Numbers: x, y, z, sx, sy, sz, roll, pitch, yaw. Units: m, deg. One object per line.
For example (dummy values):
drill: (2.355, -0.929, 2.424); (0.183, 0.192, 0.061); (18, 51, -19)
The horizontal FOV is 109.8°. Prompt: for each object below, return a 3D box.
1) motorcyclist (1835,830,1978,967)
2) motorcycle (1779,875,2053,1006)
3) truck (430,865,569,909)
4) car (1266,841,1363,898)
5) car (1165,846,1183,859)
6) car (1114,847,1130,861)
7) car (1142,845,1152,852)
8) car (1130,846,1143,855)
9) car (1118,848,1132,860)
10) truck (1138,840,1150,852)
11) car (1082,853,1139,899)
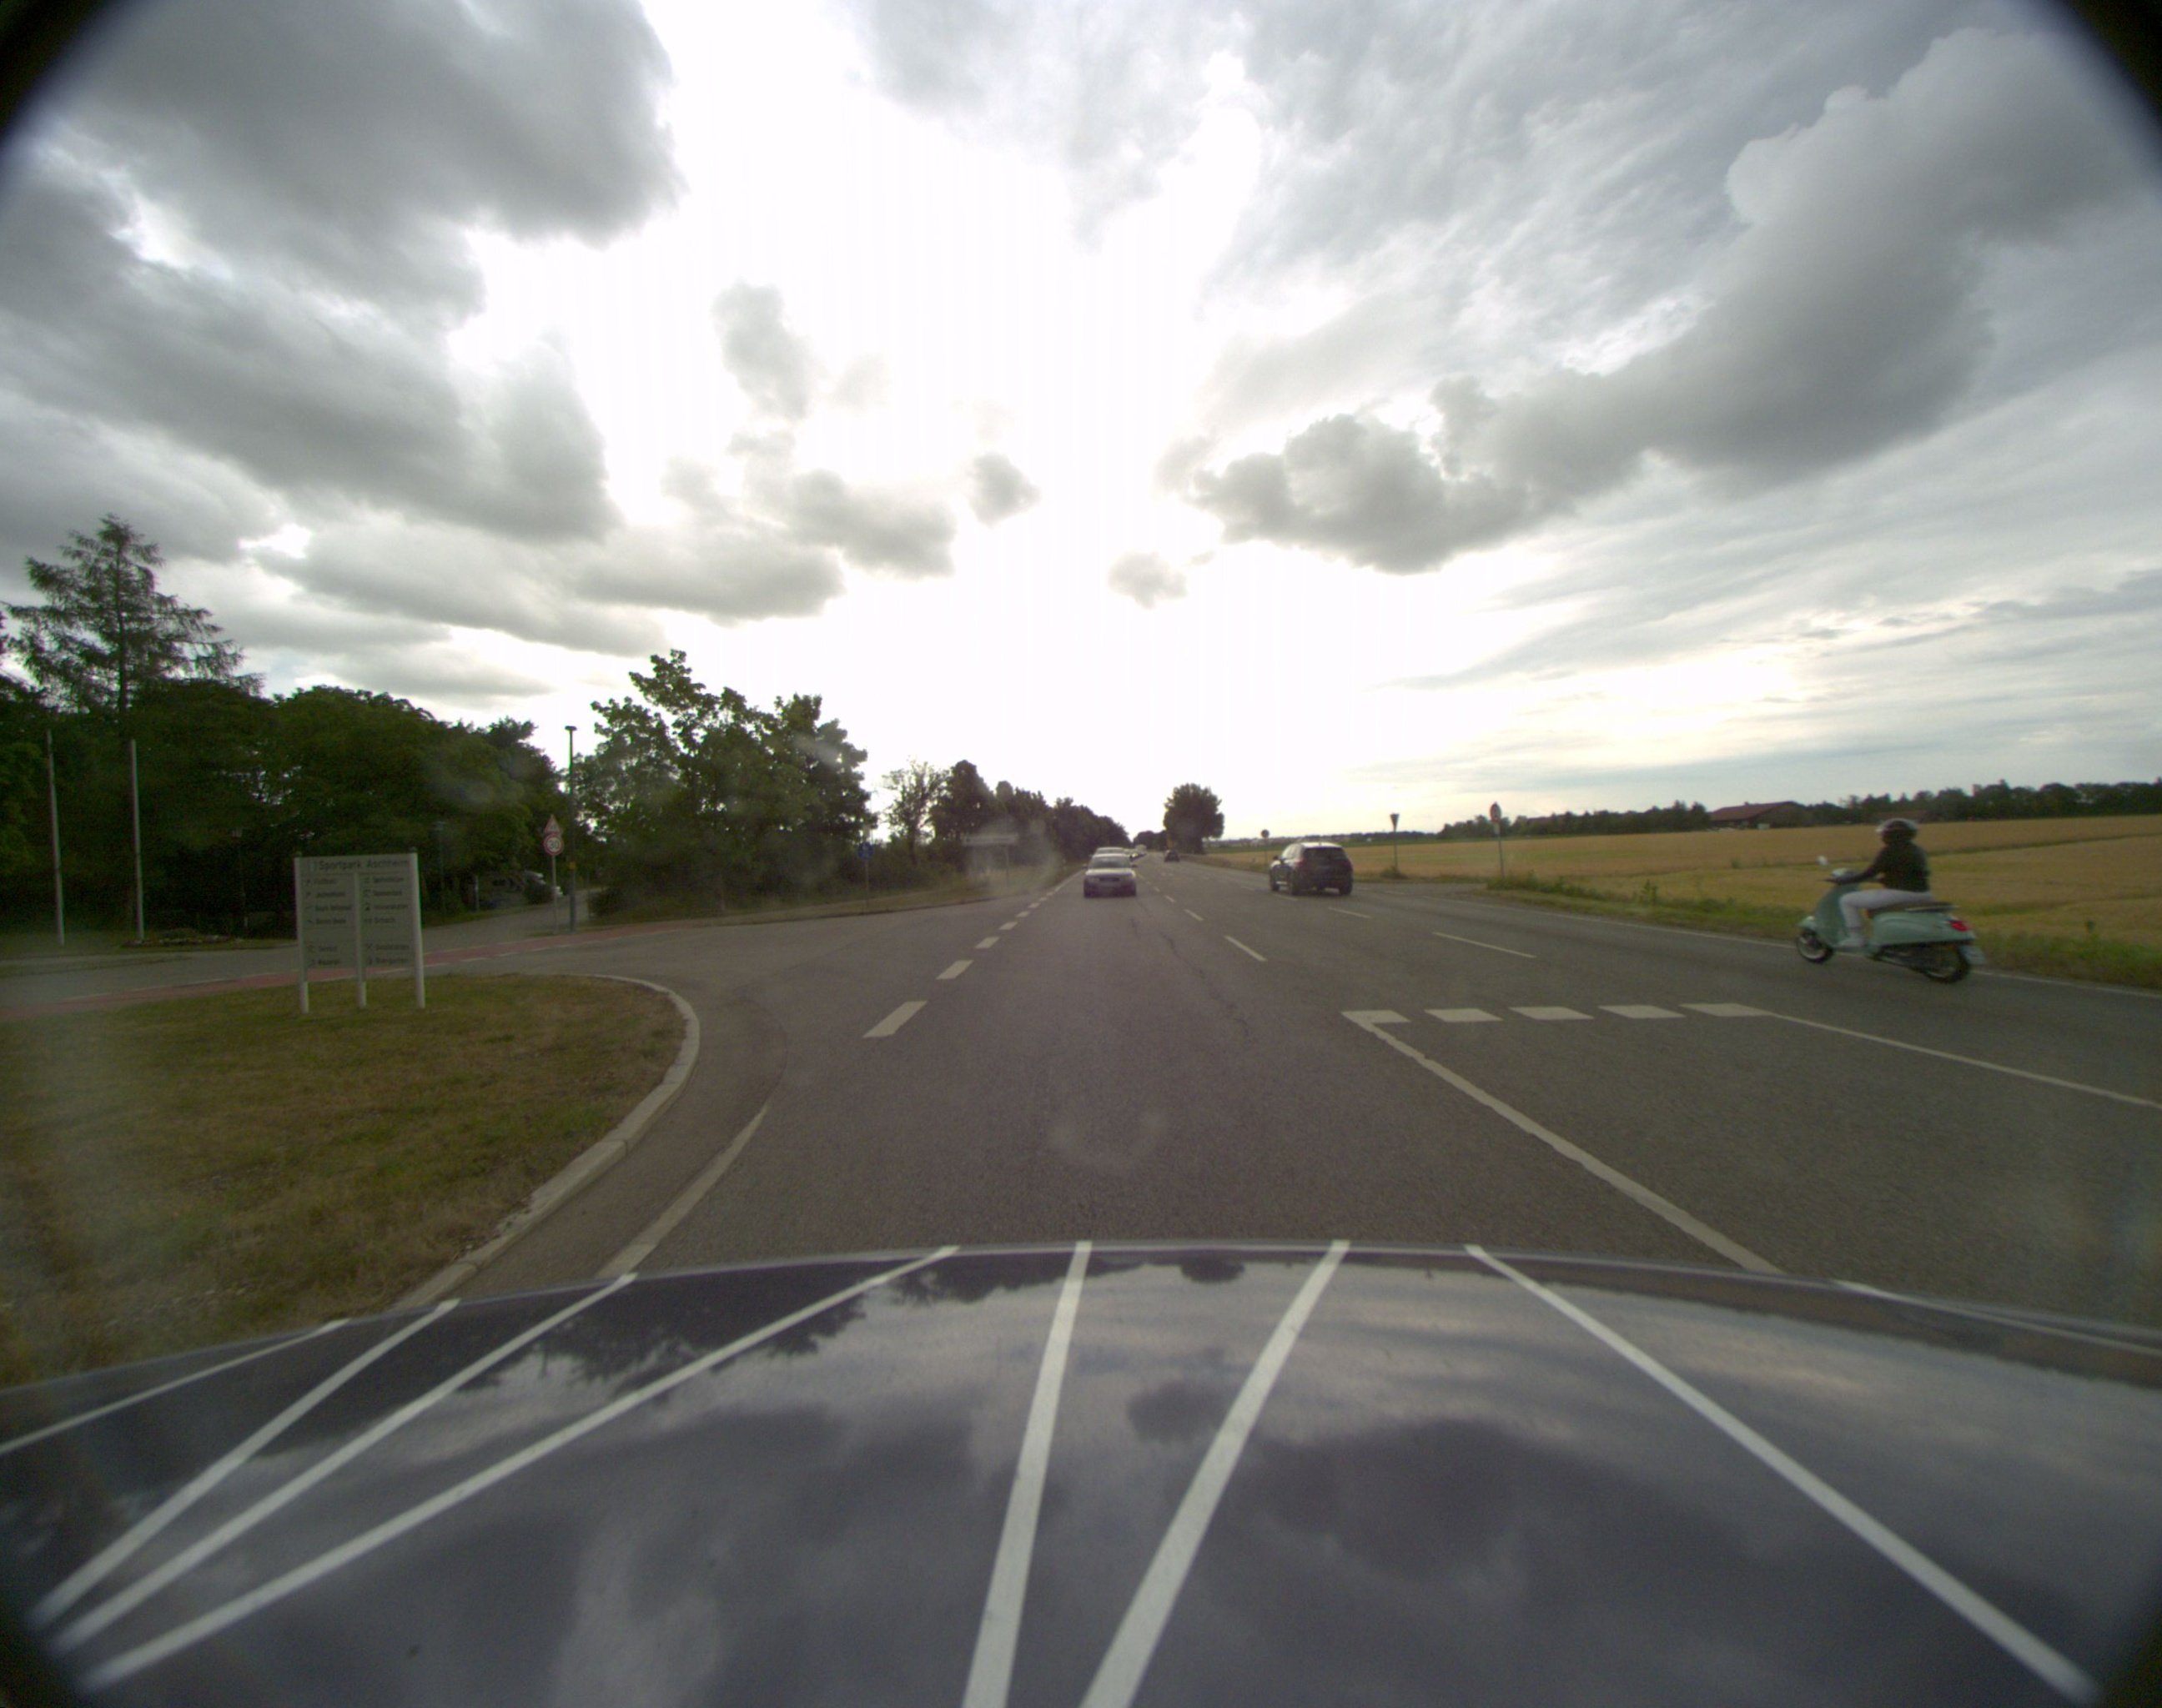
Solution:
motorcyclist: (8.765, 0.452, 8.101); (0.641, 1.376, 0.809); (-1, 1, 1)
motorcycle: (8.780, 0.847, 8.156); (0.727, 1.142, 2.024); (-1, 1, 1)
truck: (-47.076, 2.604, 61.883); (8.383, 3.092, 3.067); (-2, 1, -26)
car: (7.608, 0.450, 25.192); (1.952, 1.684, 4.446); (-1, 1, 2)
car: (11.386, -0.164, 93.041); (1.998, 1.501, 4.001); (0, 1, 4)
car: (4.837, 0.012, 90.068); (1.793, 1.573, 4.368); (-1, 0, 4)
car: (15.049, -1.310, 173.699); (1.792, 1.531, 4.139); (-1, 0, 10)
car: (10.288, -0.595, 141.089); (1.953, 1.573, 4.139); (-1, 0, 10)
car: (5.746, -0.021, 99.201); (1.793, 1.573, 4.188); (-1, 0, 4)
truck: (15.902, -2.063, 191.522); (2.320, 2.749, 7.672); (-2, 1, 1)
car: (1.039, 0.694, 26.560); (1.793, 1.415, 4.367); (-2, 0, 2)
